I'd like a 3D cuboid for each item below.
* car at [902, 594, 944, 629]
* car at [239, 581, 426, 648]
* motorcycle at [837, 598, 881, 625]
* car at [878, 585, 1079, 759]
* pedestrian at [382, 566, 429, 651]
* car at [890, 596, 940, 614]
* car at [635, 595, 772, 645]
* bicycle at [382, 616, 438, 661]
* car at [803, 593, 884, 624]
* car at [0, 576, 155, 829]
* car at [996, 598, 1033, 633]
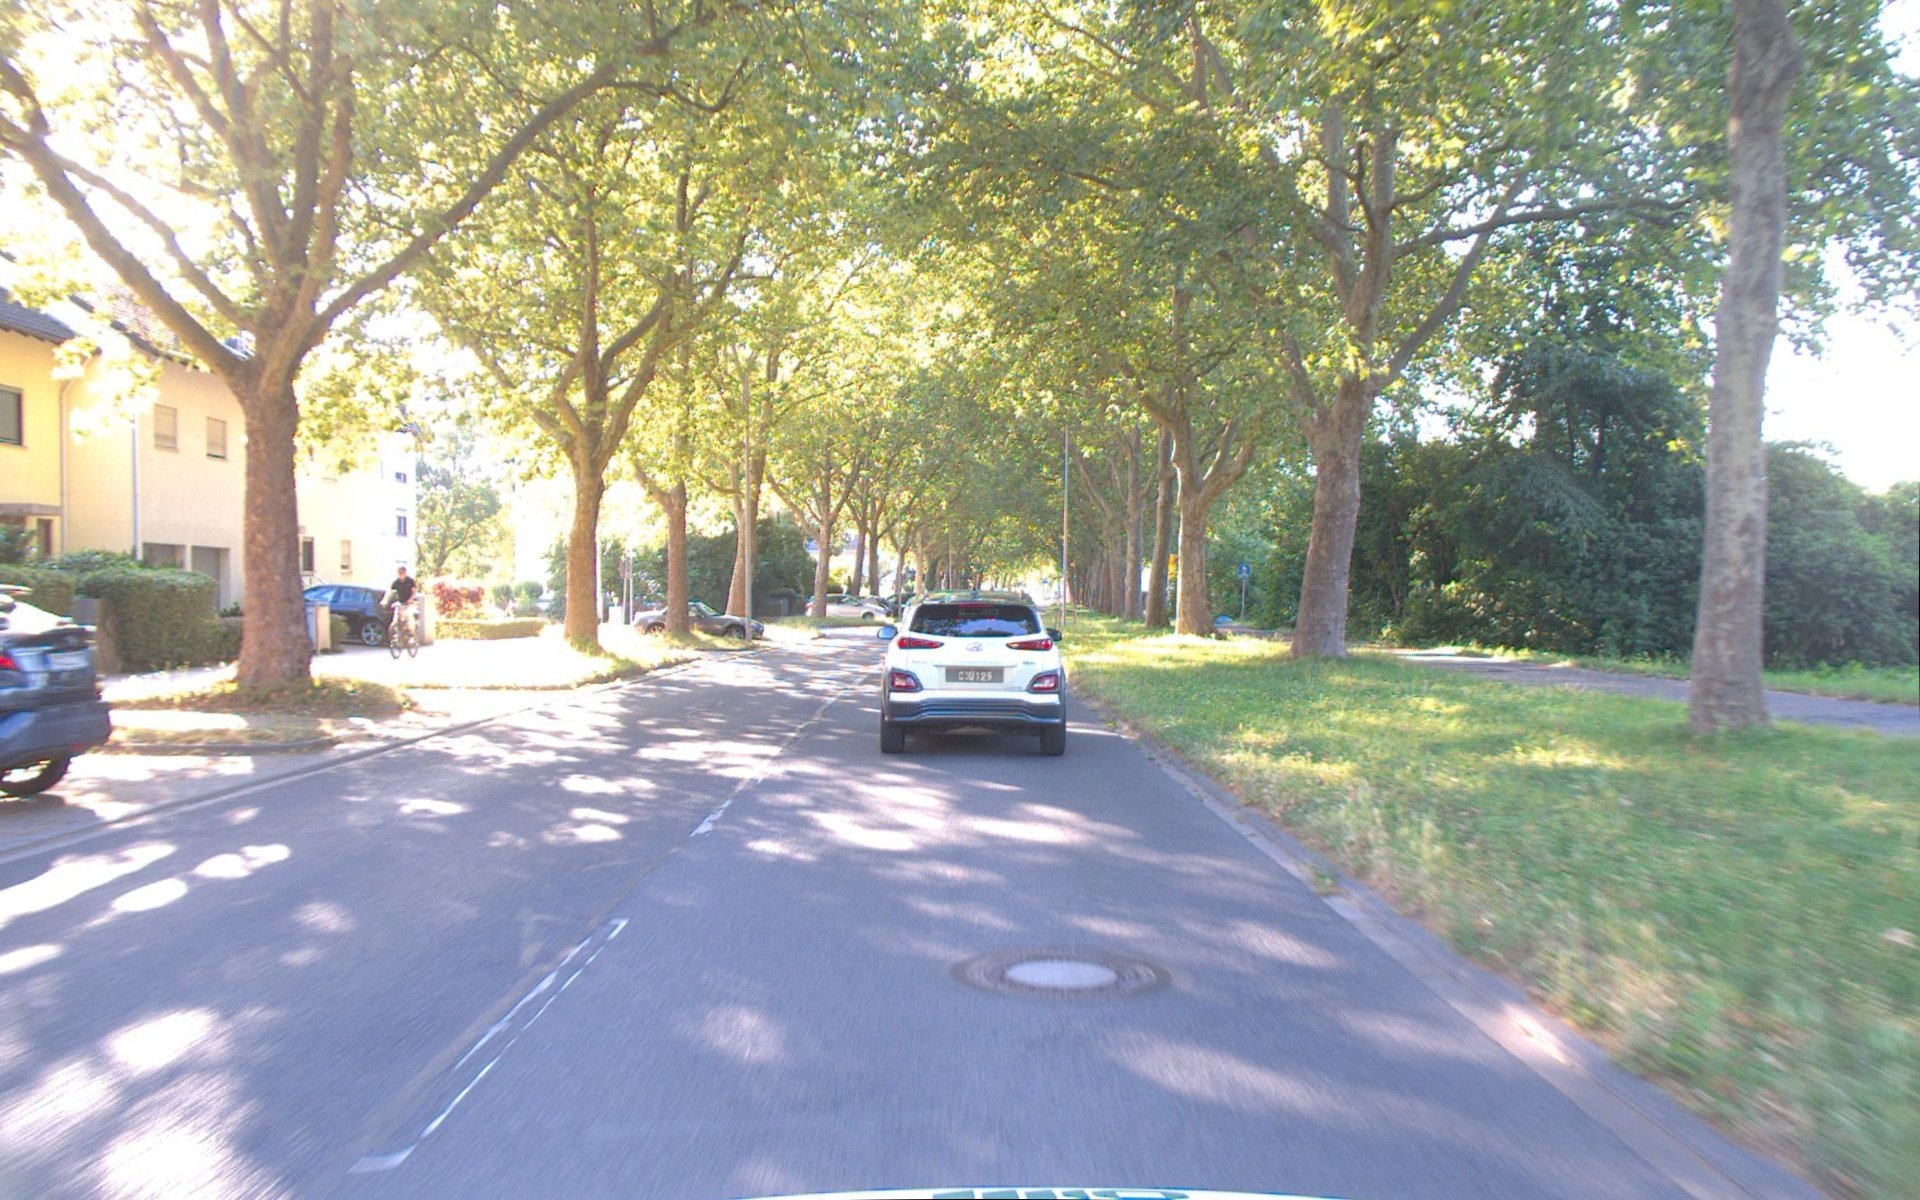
[{"bbox_3d":[-1.679,0.534,76.190,1.747,1.539,3.839,1,0,2],"label":"car"},{"bbox_3d":[-15.740,0.356,41.634,3.905,1.489,1.901,2,0,1],"label":"car"},{"bbox_3d":[-5.459,0.628,89.255,2.337,1.412,0.648,0,1,-3],"label":"motorcycle"},{"bbox_3d":[0.076,0.649,17.135,1.799,1.583,3.997,1,0,-4],"label":"car"},{"bbox_3d":[-11.629,0.175,34.717,0.604,1.746,1.065,0,0,0],"label":"pedestrian"},{"bbox_3d":[-3.556,0.395,130.937,3.906,1.449,1.809,0,0,-1],"label":"car"},{"bbox_3d":[-7.639,0.590,49.484,3.747,1.339,1.790,2,0,0],"label":"car"},{"bbox_3d":[-11.569,0.801,34.833,0.460,0.896,2.156,0,0,0],"label":"bicycle"},{"bbox_3d":[-6.094,0.449,86.845,4.098,1.612,1.999,0,0,-2],"label":"car"},{"bbox_3d":[-7.723,0.605,10.908,3.908,1.545,1.816,1,0,-3],"label":"car"},{"bbox_3d":[2.719,0.766,83.501,1.642,1.725,3.744,0,0,-2],"label":"car"}]
